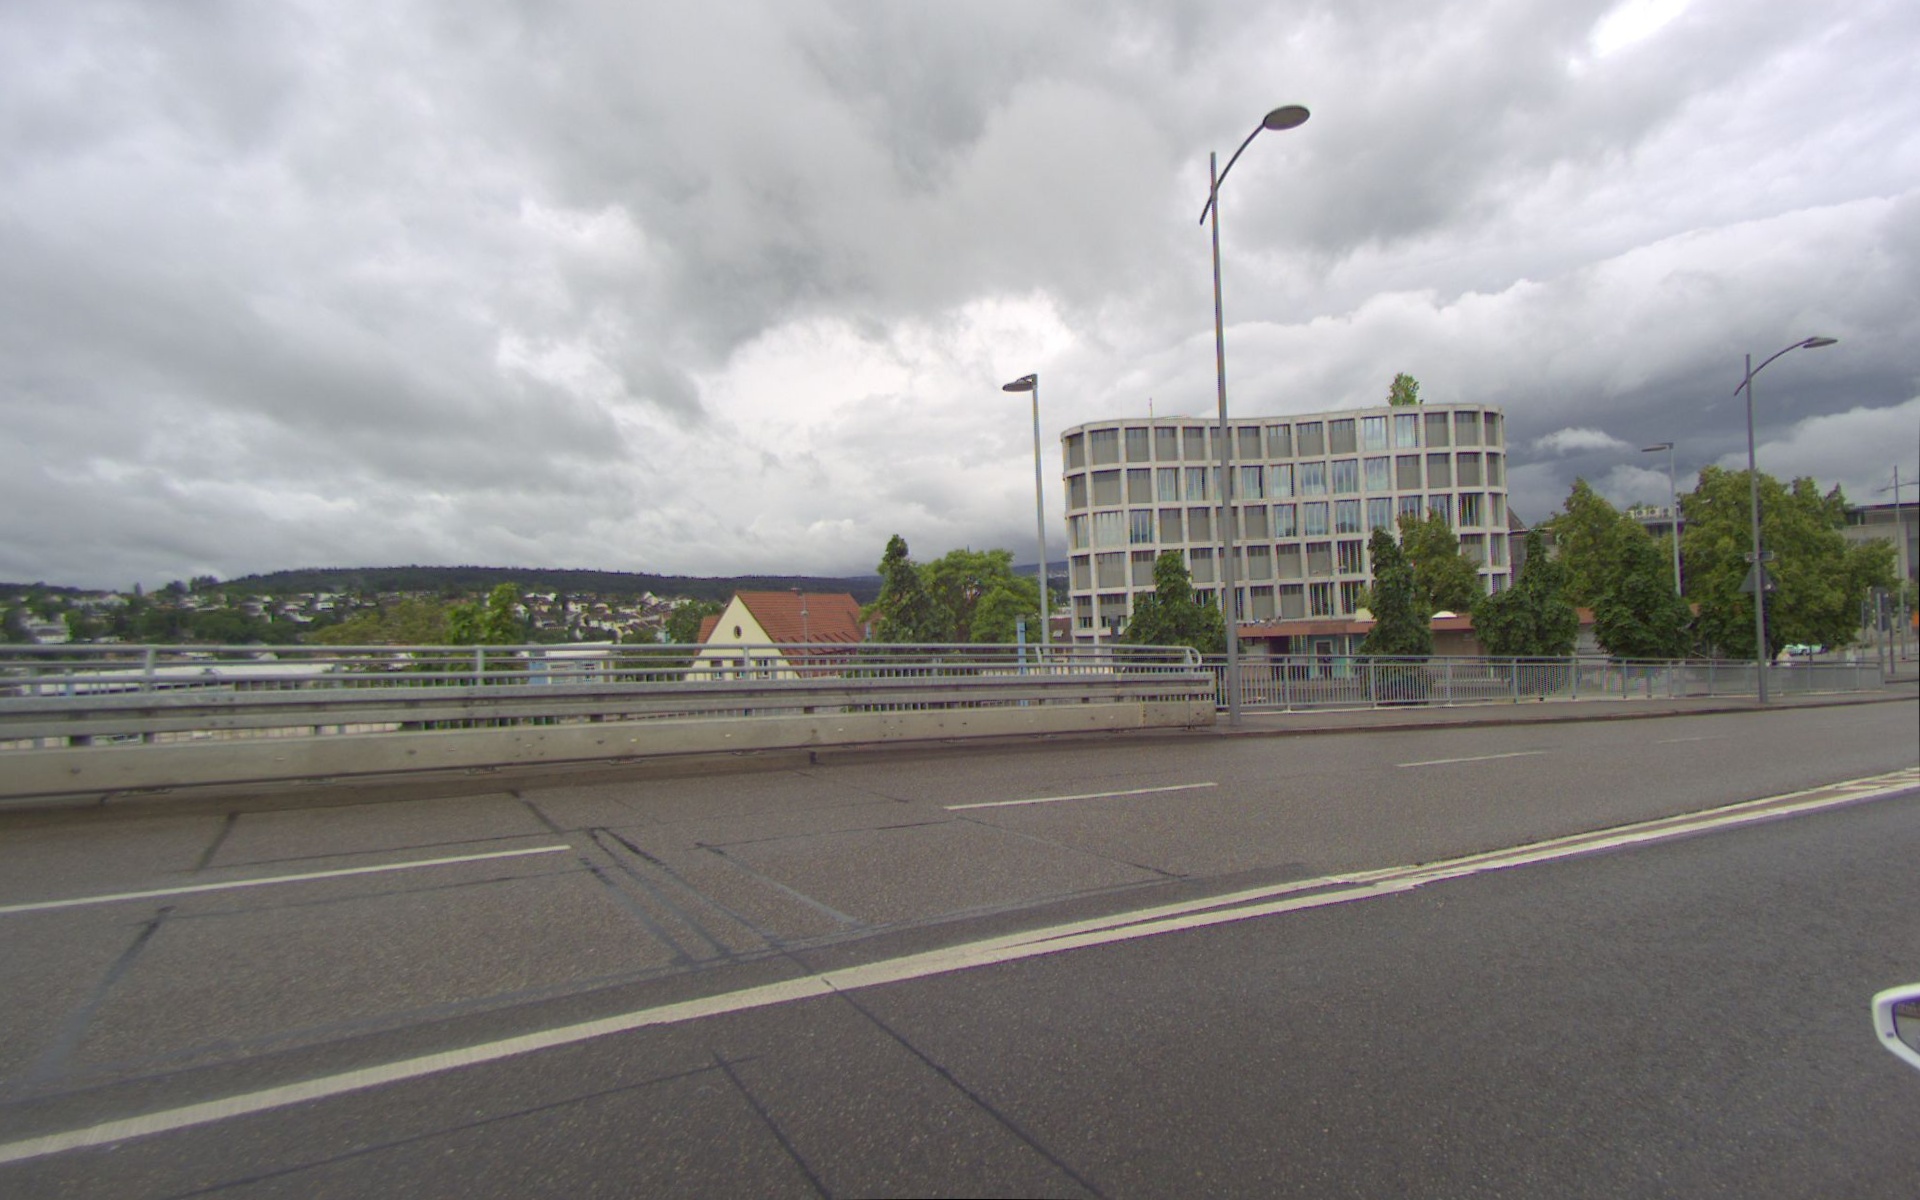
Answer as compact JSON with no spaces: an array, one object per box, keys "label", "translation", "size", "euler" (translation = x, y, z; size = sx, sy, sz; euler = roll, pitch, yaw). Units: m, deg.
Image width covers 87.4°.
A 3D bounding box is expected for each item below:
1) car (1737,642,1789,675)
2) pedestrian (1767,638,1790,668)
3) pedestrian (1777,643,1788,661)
[{"label":"car","translation":[60.139,4.367,75.278],"size":[1.962,2.041,3.997],"euler":[3,2,23]},{"label":"pedestrian","translation":[40.198,2.606,49.326],"size":[0.524,1.427,0.646],"euler":[-1,-1,-27]},{"label":"pedestrian","translation":[40.393,2.557,49.313],"size":[0.294,0.885,0.300],"euler":[-1,-1,-27]}]
